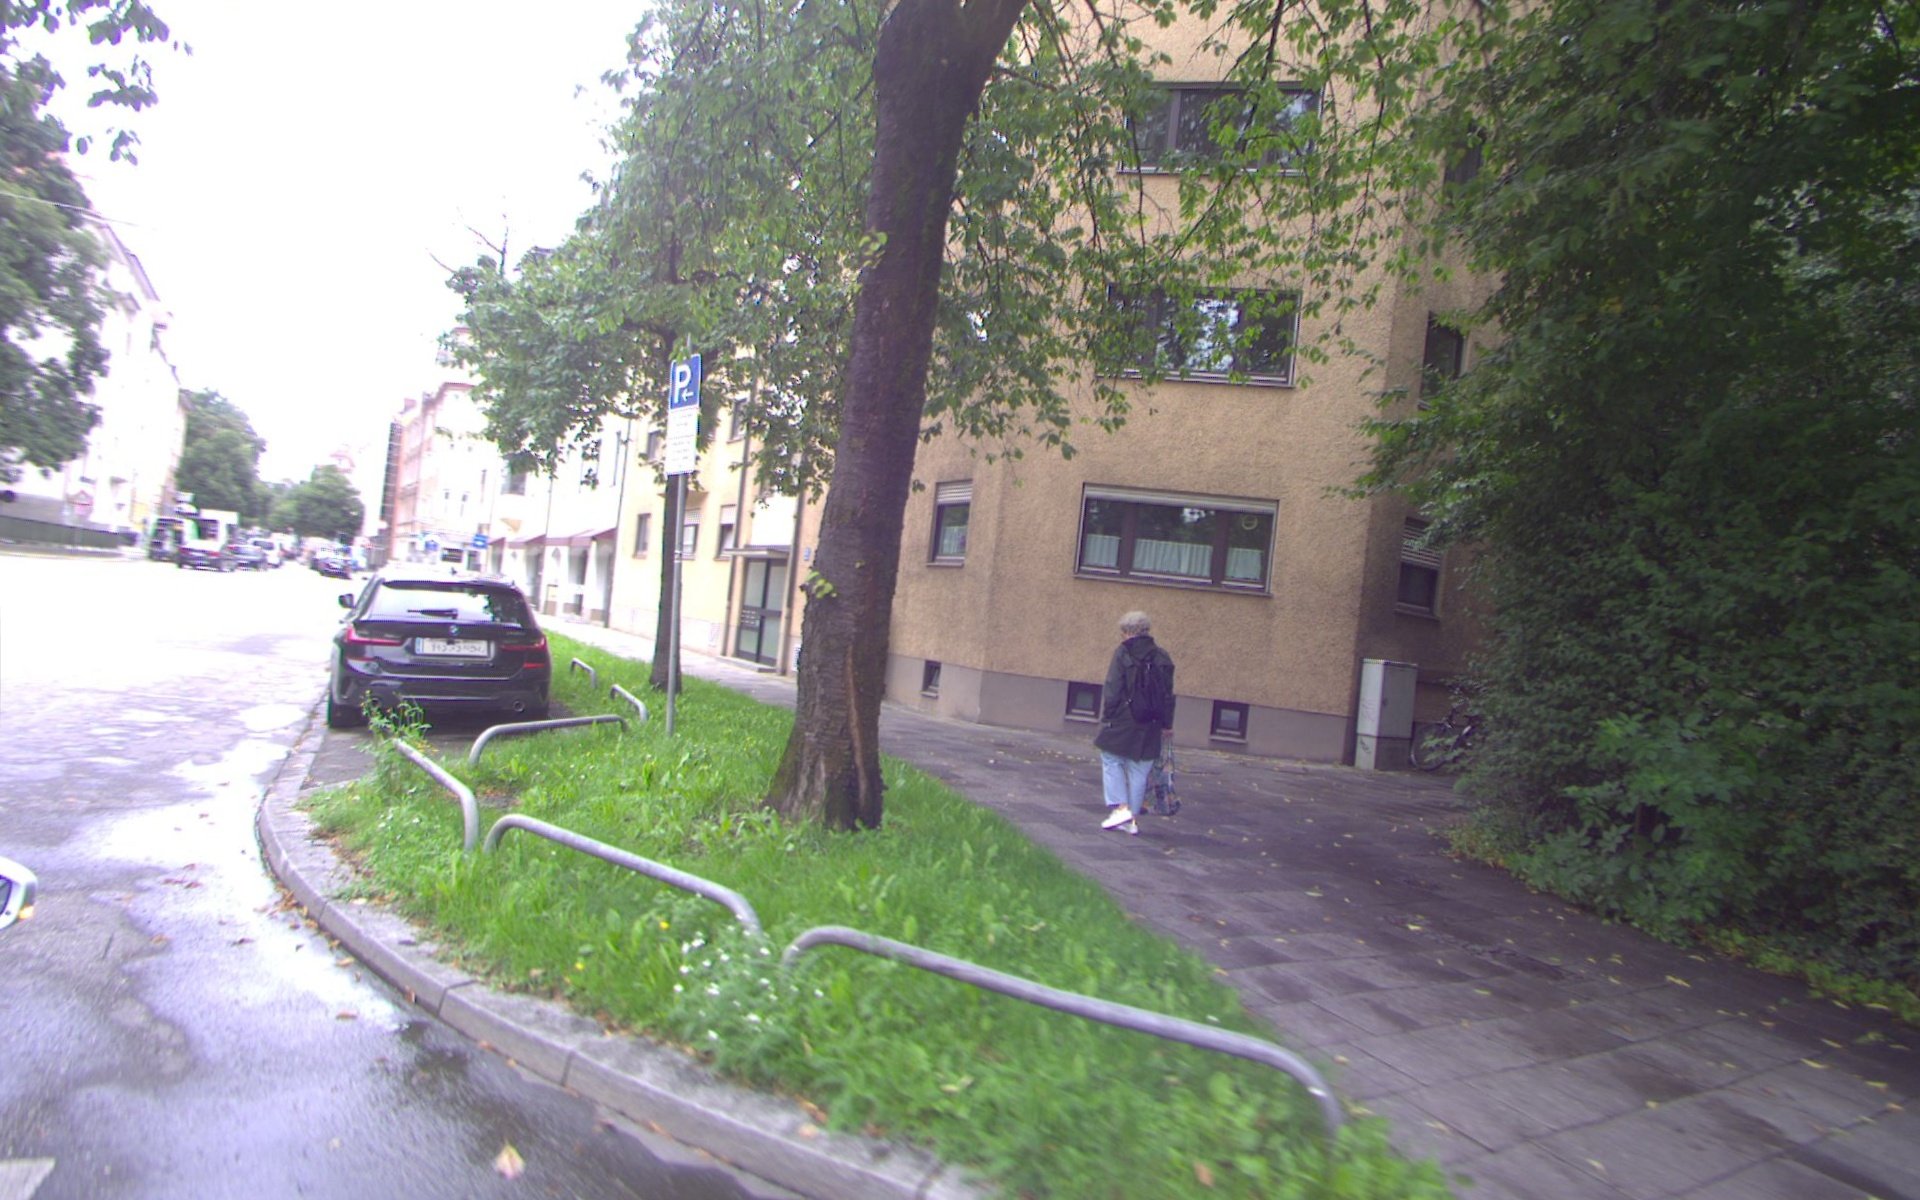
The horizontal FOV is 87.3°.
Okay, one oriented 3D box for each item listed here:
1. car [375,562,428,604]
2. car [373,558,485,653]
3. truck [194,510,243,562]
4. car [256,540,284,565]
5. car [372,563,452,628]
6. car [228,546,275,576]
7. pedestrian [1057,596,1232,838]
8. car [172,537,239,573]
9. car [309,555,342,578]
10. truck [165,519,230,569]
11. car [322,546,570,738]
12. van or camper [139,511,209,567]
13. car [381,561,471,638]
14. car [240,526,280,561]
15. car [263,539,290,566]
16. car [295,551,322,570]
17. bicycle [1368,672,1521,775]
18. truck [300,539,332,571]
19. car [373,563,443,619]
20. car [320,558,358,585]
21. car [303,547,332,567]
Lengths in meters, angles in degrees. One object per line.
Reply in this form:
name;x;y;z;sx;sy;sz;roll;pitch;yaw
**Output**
car;-23.580;-0.728;42.575;1.741;1.514;3.798;5;-1;-27
car;-10.115;0.057;19.064;1.614;1.514;3.793;5;-1;-30
truck;-65.100;-5.582;88.434;2.995;3.998;6.930;7;-2;-35
car;-65.022;-4.445;94.766;1.981;2.038;3.964;6;-1;-34
car;-14.970;-0.166;27.428;1.676;1.514;4.401;5;-1;-30
car;-42.169;-2.329;59.946;1.977;1.446;4.104;7;-1;-33
pedestrian;1.340;0.827;7.434;0.665;1.643;0.973;6;-2;-29
car;-37.506;-2.264;50.097;1.975;1.446;4.867;7;-1;-30
car;-51.050;-2.732;80.924;1.835;1.445;4.265;11;-3;-35
truck;-52.431;-3.865;69.301;2.755;2.908;7.139;7;-1;-33
car;-5.315;0.322;10.243;1.777;1.516;4.343;4;0;-31
van or camper;-47.274;-3.673;60.636;2.583;2.875;6.131;7;0;-33
car;-12.371;-0.050;23.212;1.614;1.514;3.759;5;-1;-30
car;-48.622;-3.928;69.947;1.977;2.100;4.104;7;0;-33
car;-72.895;-5.055;107.365;1.927;2.509;4.743;7;-2;-32
car;-61.499;-3.727;94.905;1.977;1.446;4.104;7;-1;-33
bicycle;6.600;1.689;13.639;2.408;1.232;0.698;6;-1;-35
truck;-69.722;-4.879;108.879;2.477;3.008;5.280;7;-2;-34
car;-17.532;-0.318;31.921;1.742;1.514;4.454;5;-1;-30
car;-42.816;-1.977;69.375;1.835;1.445;4.144;11;-3;-35
car;-55.669;-3.755;87.161;1.977;1.446;4.104;7;-1;-33
